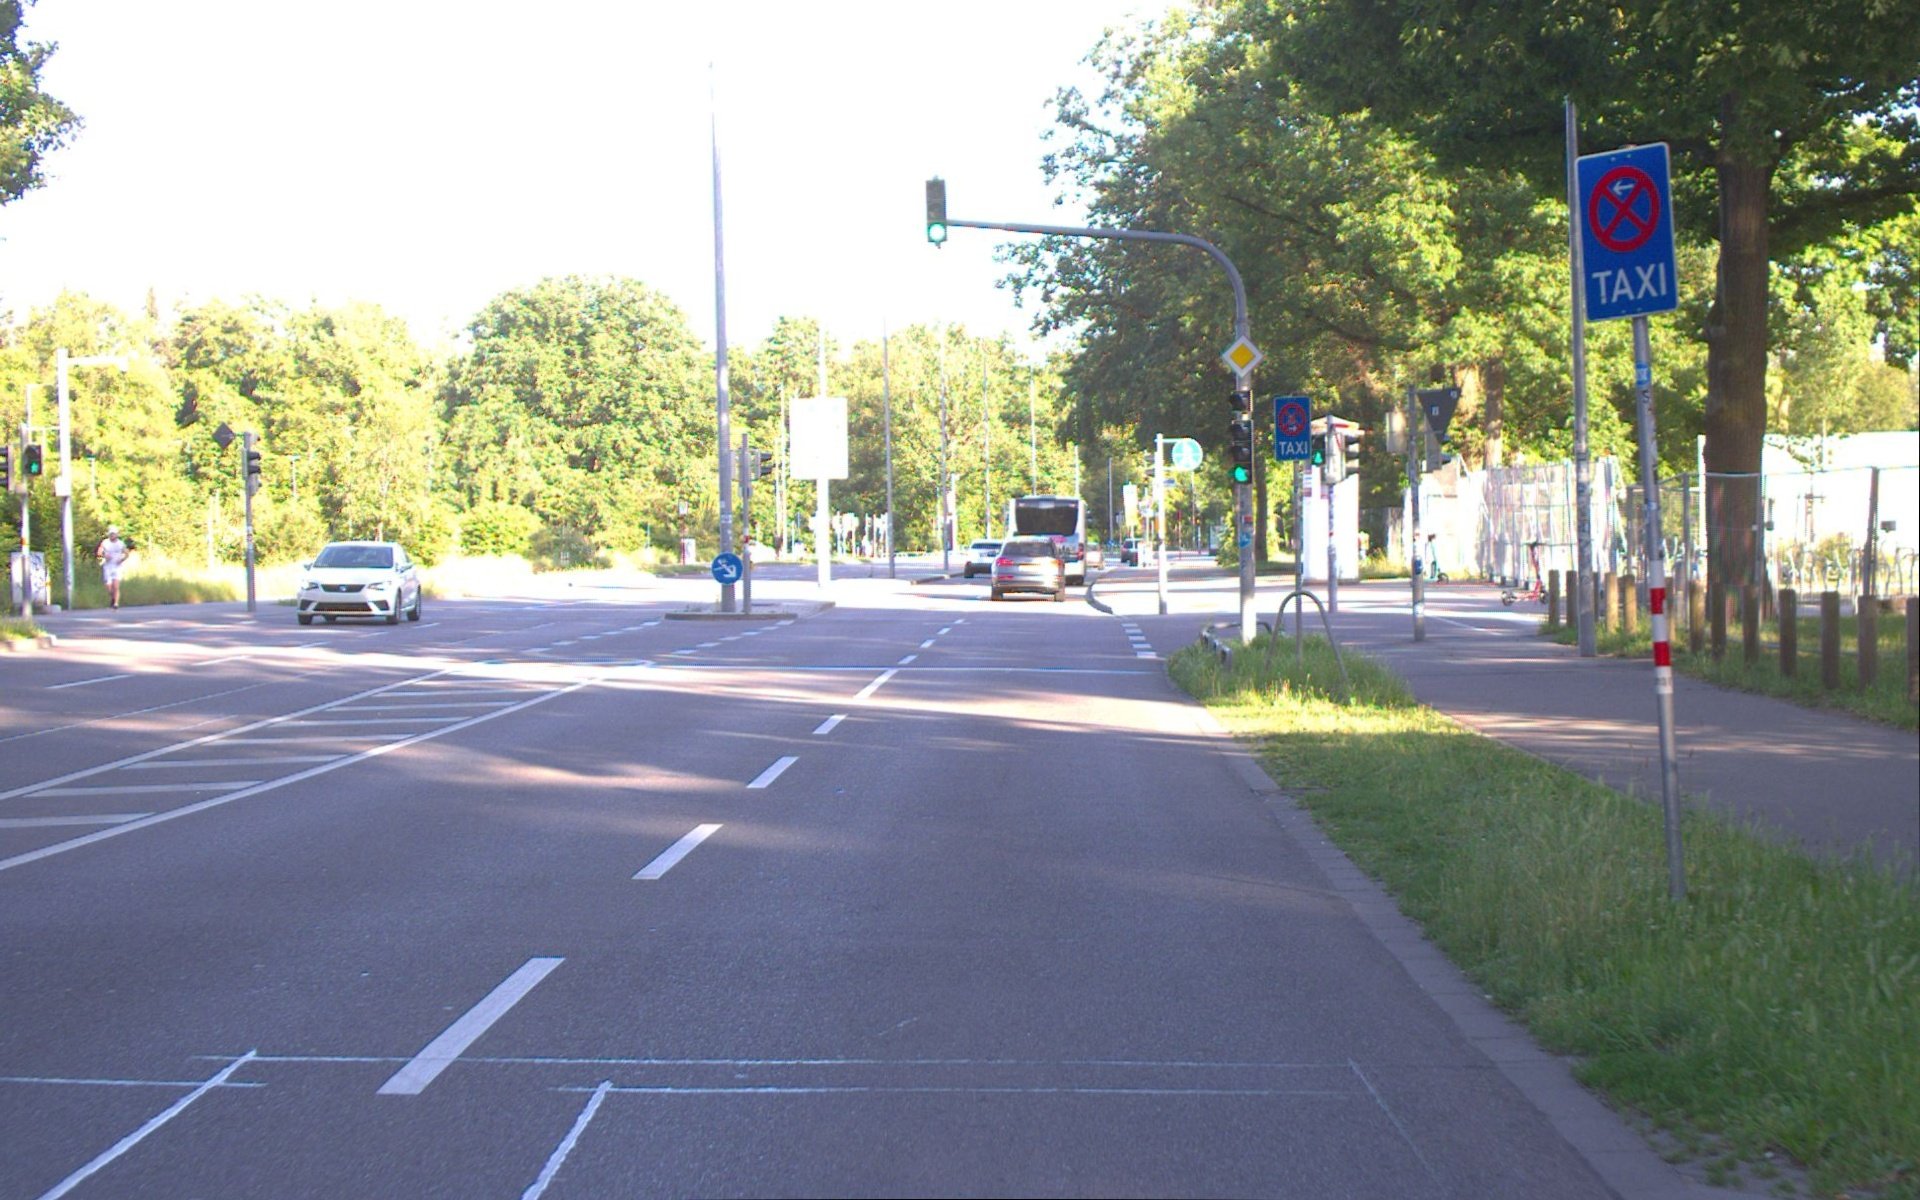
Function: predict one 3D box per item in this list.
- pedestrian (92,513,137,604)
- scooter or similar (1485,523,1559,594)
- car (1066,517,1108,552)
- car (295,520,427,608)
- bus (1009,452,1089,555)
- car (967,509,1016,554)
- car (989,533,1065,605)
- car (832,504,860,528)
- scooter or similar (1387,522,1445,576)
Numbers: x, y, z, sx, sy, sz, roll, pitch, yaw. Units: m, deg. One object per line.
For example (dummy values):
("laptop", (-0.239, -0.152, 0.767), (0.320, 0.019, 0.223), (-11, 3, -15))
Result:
("pedestrian", (-17.869, -0.872, 72.677), (0.612, 1.903, 1.106), (-1, 1, 1))
("scooter or similar", (10.660, -0.794, 65.250), (1.357, 1.283, 0.604), (-1, 5, -41))
("car", (6.348, -3.275, 171.714), (1.863, 1.678, 3.772), (-1, 1, 5))
("car", (-10.554, -0.662, 60.796), (1.710, 1.459, 4.101), (1, 1, -1))
("bus", (2.989, -3.264, 116.688), (2.605, 3.357, 7.976), (0, 2, 1))
("car", (1.266, -2.759, 137.420), (1.880, 1.759, 4.000), (-1, 2, 1))
("car", (1.727, -0.819, 88.286), (1.880, 1.759, 4.000), (-1, 2, 1))
("car", (-8.363, -6.165, 251.938), (1.863, 1.678, 3.773), (-1, 1, 1))
("scooter or similar", (10.604, -1.190, 79.945), (0.569, 1.252, 1.596), (0, 1, 40))
